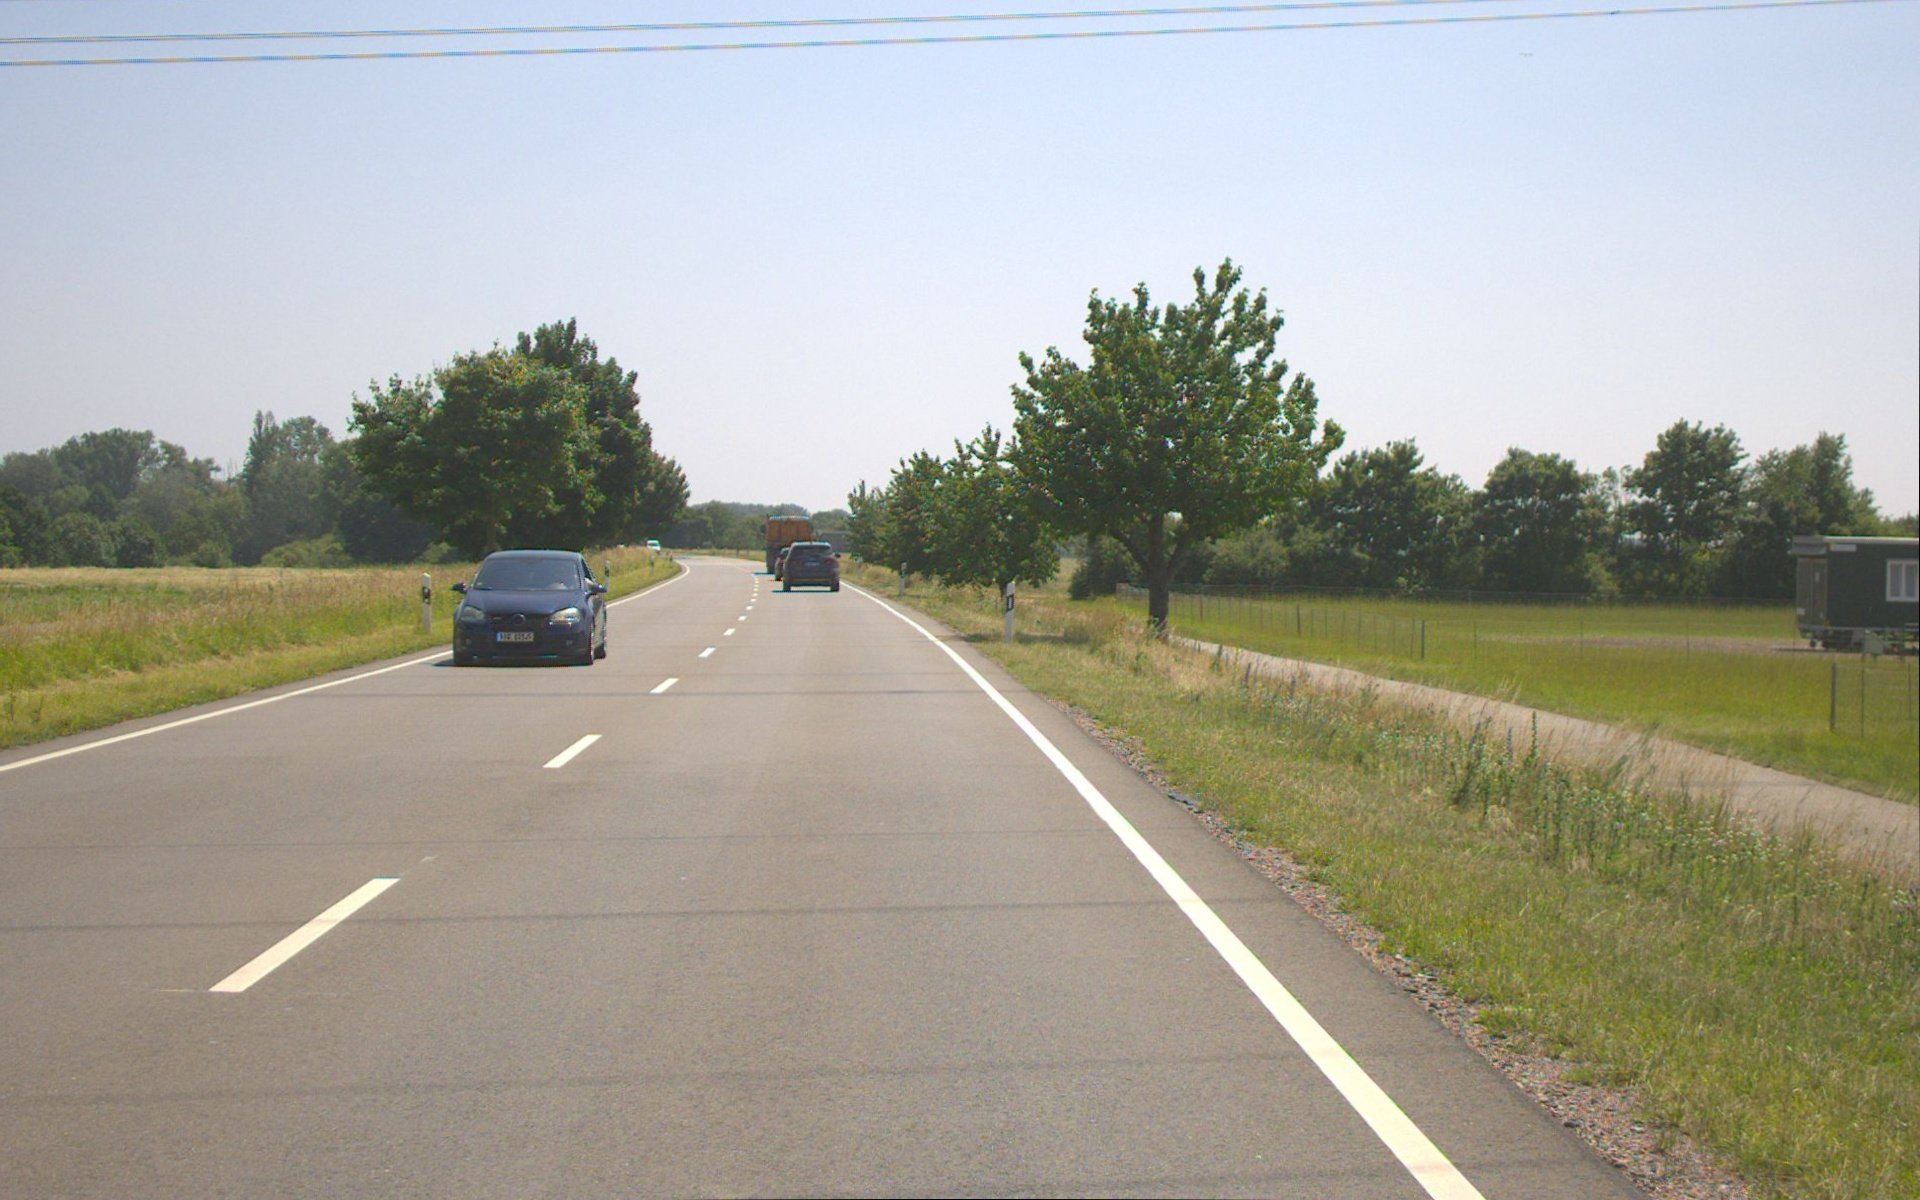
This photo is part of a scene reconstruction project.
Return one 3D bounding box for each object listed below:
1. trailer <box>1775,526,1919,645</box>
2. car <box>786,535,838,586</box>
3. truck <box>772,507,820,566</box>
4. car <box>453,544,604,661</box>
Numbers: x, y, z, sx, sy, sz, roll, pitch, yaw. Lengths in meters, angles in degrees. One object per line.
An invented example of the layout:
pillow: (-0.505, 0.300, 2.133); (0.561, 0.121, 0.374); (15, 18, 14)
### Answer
trailer: (31.611, -0.342, 104.908); (12.409, 3.461, 3.806); (2, 1, -4)
car: (-5.051, -1.343, 116.738); (1.714, 1.688, 3.989); (1, 1, -3)
truck: (-9.005, -3.465, 188.183); (2.370, 3.129, 8.749); (1, 1, -4)
car: (-5.603, 0.006, 45.017); (1.734, 1.442, 4.001); (1, 1, -4)
